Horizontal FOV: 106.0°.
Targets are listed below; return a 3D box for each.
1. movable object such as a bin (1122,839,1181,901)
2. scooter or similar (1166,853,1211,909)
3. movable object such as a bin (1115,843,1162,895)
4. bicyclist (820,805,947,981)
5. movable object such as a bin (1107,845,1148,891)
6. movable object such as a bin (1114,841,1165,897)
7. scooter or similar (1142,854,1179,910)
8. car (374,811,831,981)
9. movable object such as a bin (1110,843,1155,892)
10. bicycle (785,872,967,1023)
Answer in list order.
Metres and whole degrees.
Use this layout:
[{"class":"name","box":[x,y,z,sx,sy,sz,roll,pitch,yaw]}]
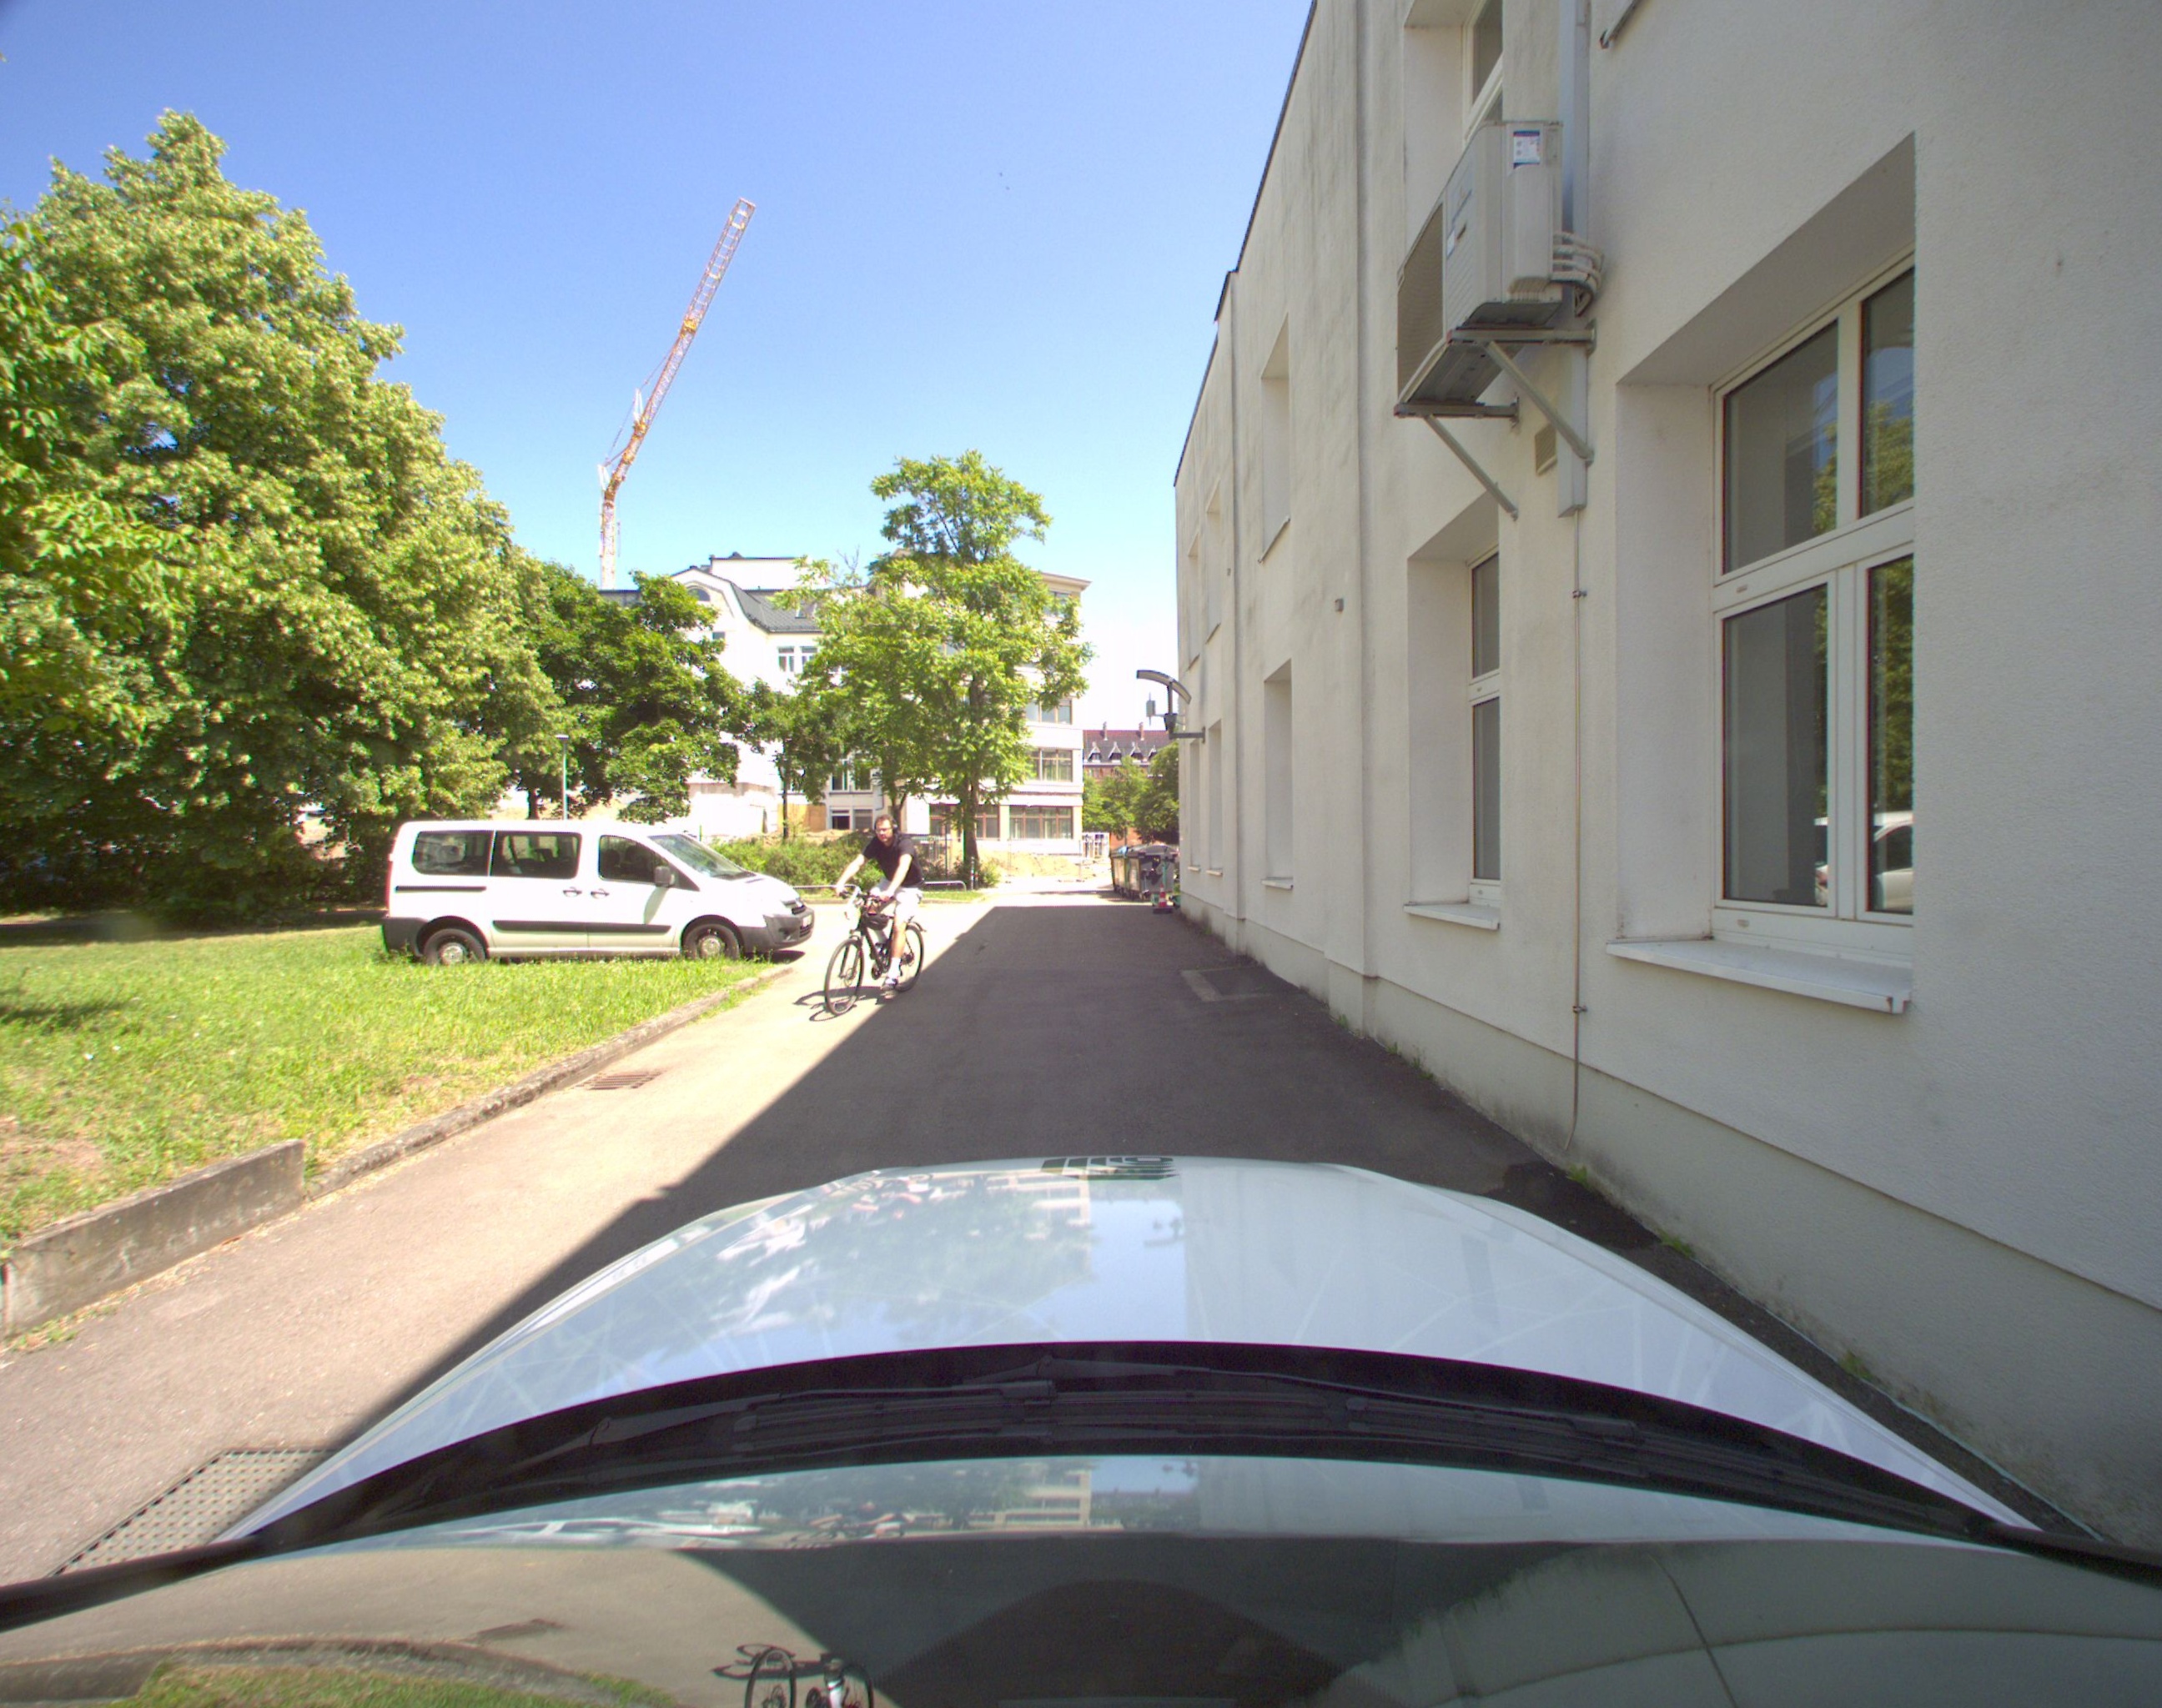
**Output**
[{"class":"movable object such as a bin","box":[1.759,0.403,20.577,1.155,1.505,1.457,0,-1,-10]},{"class":"scooter or similar","box":[2.334,0.564,17.736,0.465,1.174,1.248,-1,0,-18]},{"class":"movable object such as a bin","box":[1.663,0.435,23.693,1.177,1.470,1.309,0,-1,-5]},{"class":"bicyclist","box":[-1.921,0.333,8.022,0.716,1.609,0.984,0,2,25]},{"class":"movable object such as a bin","box":[1.525,0.448,26.670,1.171,1.470,1.337,0,-1,10]},{"class":"movable object such as a bin","box":[1.583,0.409,22.307,1.178,1.470,1.308,0,-1,-7]},{"class":"scooter or similar","box":[1.729,0.581,17.796,0.463,1.174,1.353,-1,0,-9]},{"class":"car","box":[-6.031,0.476,10.863,4.782,1.911,1.996,-1,0,-6]},{"class":"movable object such as a bin","box":[1.566,0.414,25.132,1.177,1.470,1.308,0,-1,-7]},{"class":"bicycle","box":[-1.929,0.830,8.007,0.638,1.174,1.916,0,2,25]}]
